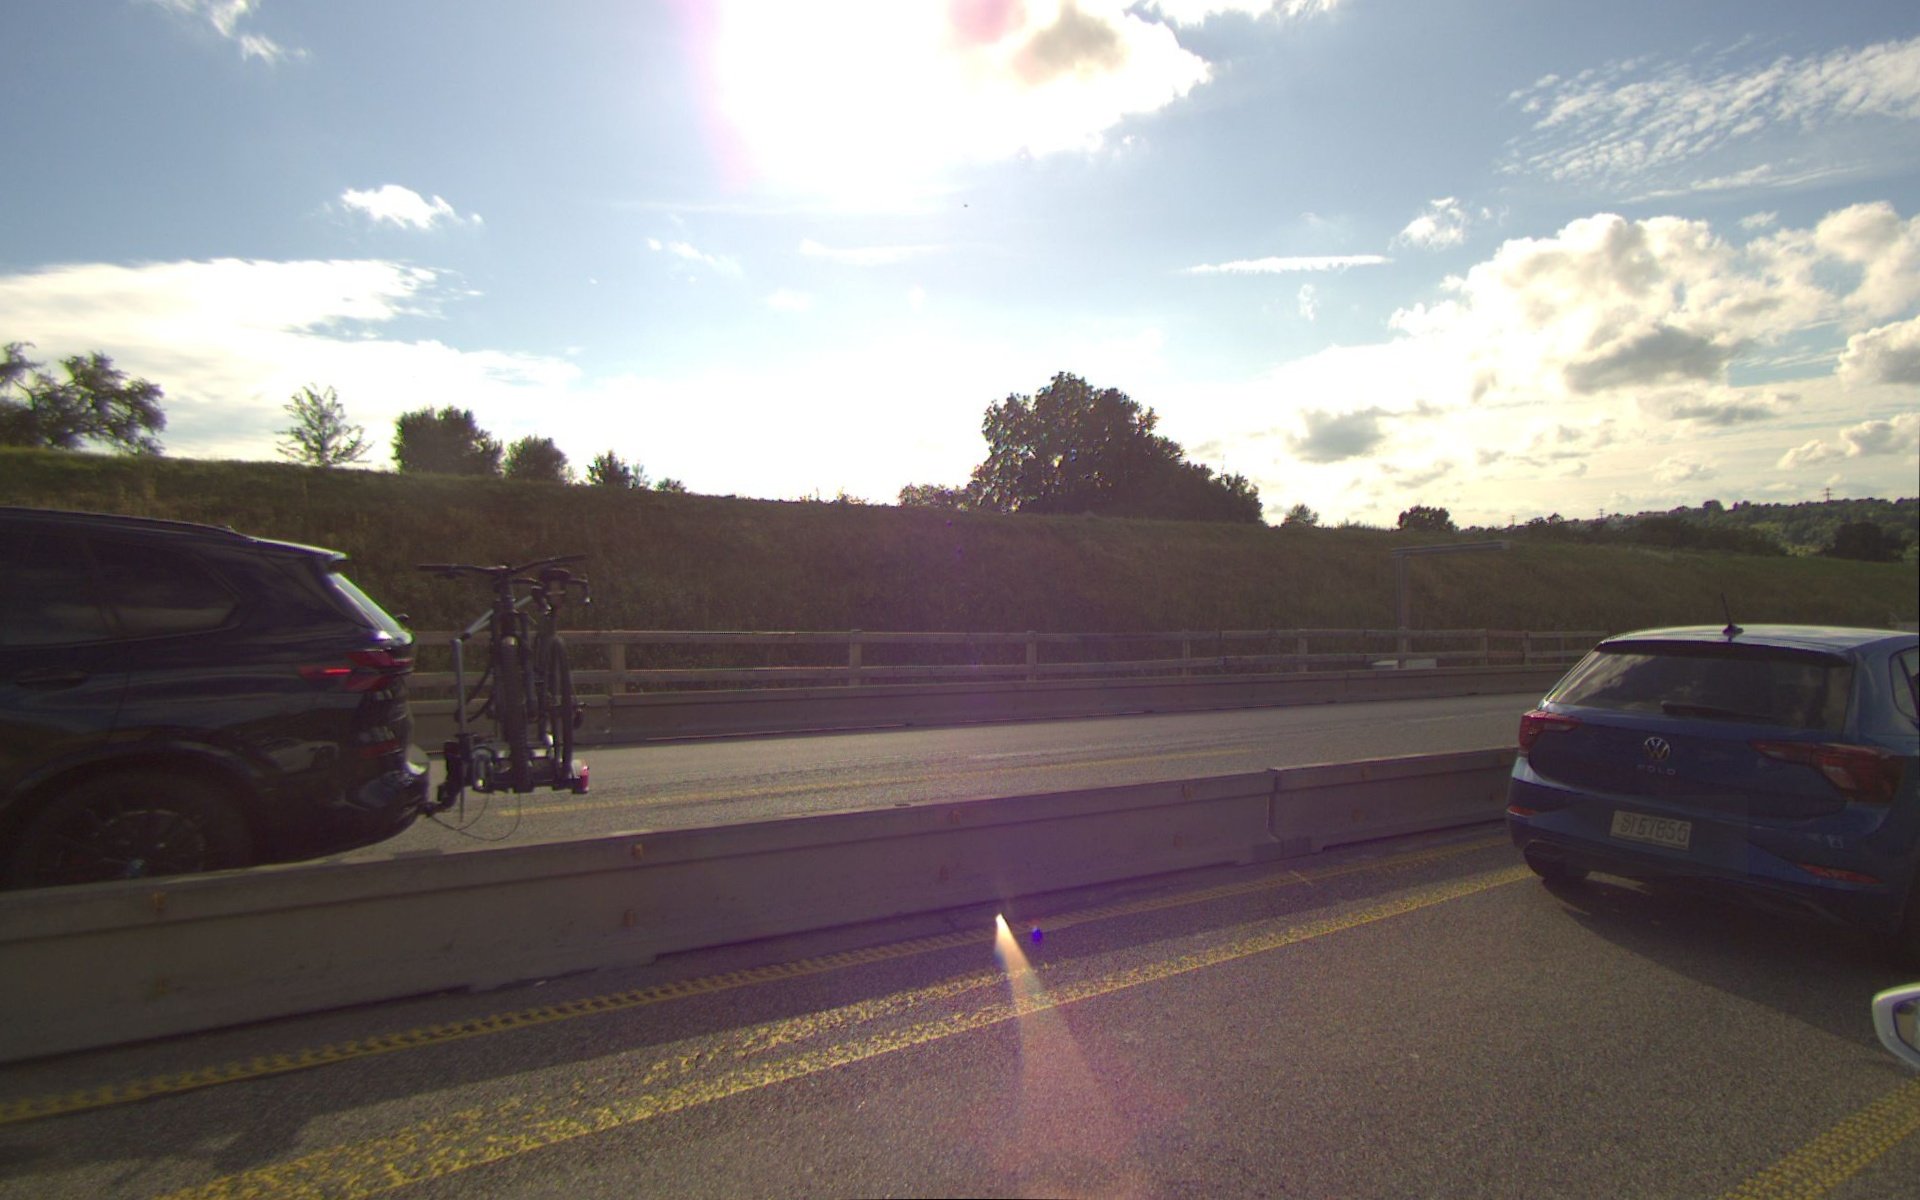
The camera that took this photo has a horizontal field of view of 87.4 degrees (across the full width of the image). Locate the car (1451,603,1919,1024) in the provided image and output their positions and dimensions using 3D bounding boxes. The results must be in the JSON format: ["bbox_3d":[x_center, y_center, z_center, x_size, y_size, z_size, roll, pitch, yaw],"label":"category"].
[{"bbox_3d":[4.680,0.828,5.449,3.953,1.528,1.706,1,0,-30],"label":"car"}]

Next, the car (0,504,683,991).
[{"bbox_3d":[-4.204,0.525,4.339,5.515,1.770,1.938,0,1,-31],"label":"car"}]
